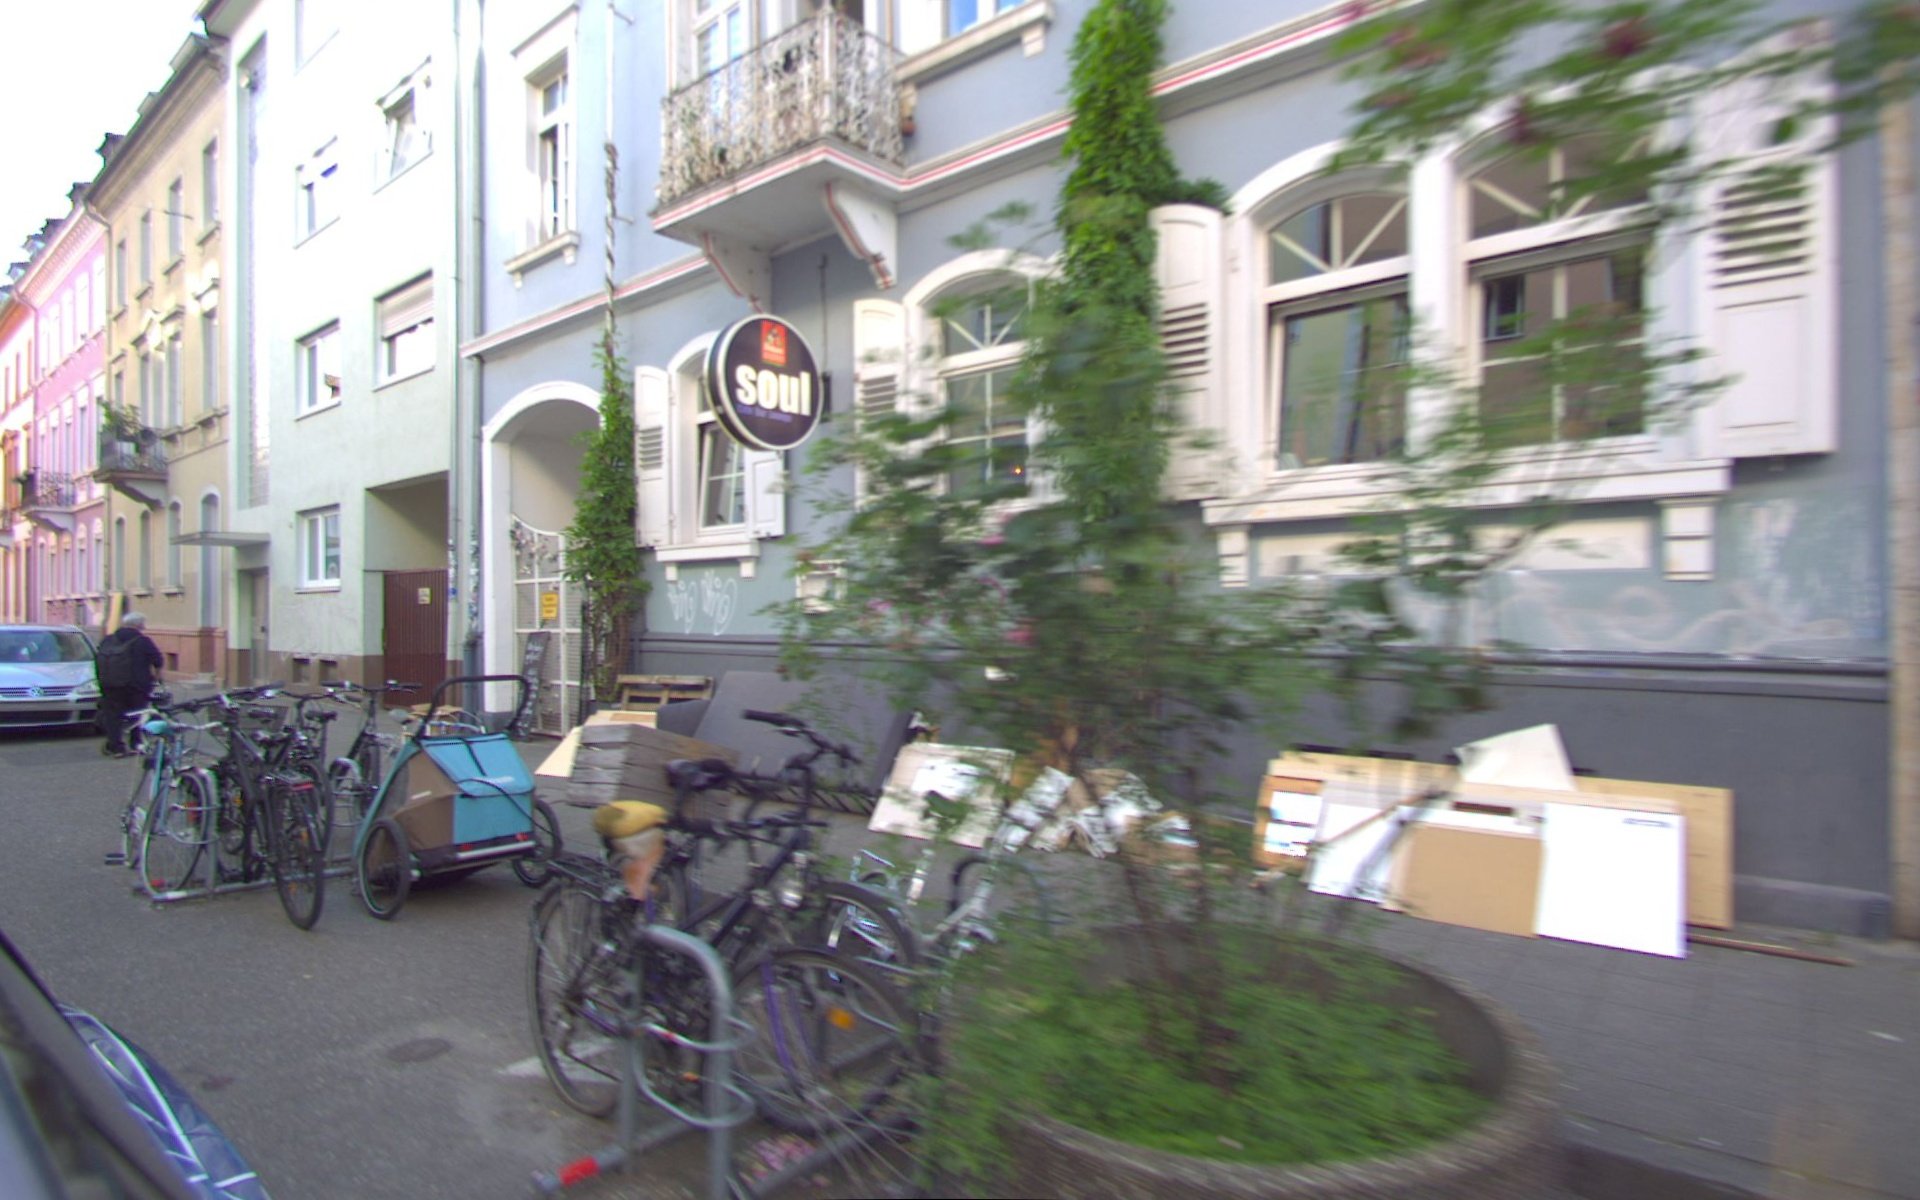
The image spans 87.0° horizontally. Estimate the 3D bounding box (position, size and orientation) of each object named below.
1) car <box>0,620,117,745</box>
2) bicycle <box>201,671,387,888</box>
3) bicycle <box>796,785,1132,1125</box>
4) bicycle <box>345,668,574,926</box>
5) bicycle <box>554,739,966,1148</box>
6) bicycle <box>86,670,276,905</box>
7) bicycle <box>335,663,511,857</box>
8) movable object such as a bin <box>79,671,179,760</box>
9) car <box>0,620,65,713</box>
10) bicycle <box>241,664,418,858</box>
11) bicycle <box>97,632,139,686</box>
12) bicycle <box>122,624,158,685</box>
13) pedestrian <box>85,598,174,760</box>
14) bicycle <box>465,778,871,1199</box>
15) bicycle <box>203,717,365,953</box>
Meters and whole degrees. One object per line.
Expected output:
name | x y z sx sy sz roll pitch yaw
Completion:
car | -12.619 1.018 13.466 4.034 1.466 1.662 -2 -3 44
bicycle | -4.242 1.047 6.380 1.930 1.114 0.439 -1 -1 40
bicycle | -0.041 1.135 3.488 1.298 0.824 0.253 -1 -1 41
bicycle | -2.725 0.994 5.511 0.919 1.184 0.805 -1 -1 38
bicycle | -0.753 1.038 3.498 1.570 0.951 0.548 -1 -2 41
bicycle | -4.586 1.003 5.910 1.828 1.114 0.494 -1 -1 40
bicycle | -3.681 1.019 6.875 1.696 1.114 0.439 -1 -1 40
movable object such as a bin | -9.606 1.312 11.707 0.835 0.904 0.586 -1 0 -45
car | -16.724 1.076 17.121 3.996 1.463 1.772 -1 -2 40
bicycle | -4.356 1.031 6.932 1.872 1.114 0.439 -1 -1 39
bicycle | -17.952 1.238 21.563 1.493 1.110 0.413 -1 -1 40
bicycle | -17.753 1.160 21.898 1.493 1.269 0.315 -1 -1 40
pedestrian | -9.263 0.851 11.293 0.705 1.720 0.672 -1 0 -44
bicycle | -0.870 1.048 2.808 1.392 0.923 0.386 -1 -2 41
bicycle | -3.319 1.080 4.935 1.289 0.923 0.318 -1 -2 41
